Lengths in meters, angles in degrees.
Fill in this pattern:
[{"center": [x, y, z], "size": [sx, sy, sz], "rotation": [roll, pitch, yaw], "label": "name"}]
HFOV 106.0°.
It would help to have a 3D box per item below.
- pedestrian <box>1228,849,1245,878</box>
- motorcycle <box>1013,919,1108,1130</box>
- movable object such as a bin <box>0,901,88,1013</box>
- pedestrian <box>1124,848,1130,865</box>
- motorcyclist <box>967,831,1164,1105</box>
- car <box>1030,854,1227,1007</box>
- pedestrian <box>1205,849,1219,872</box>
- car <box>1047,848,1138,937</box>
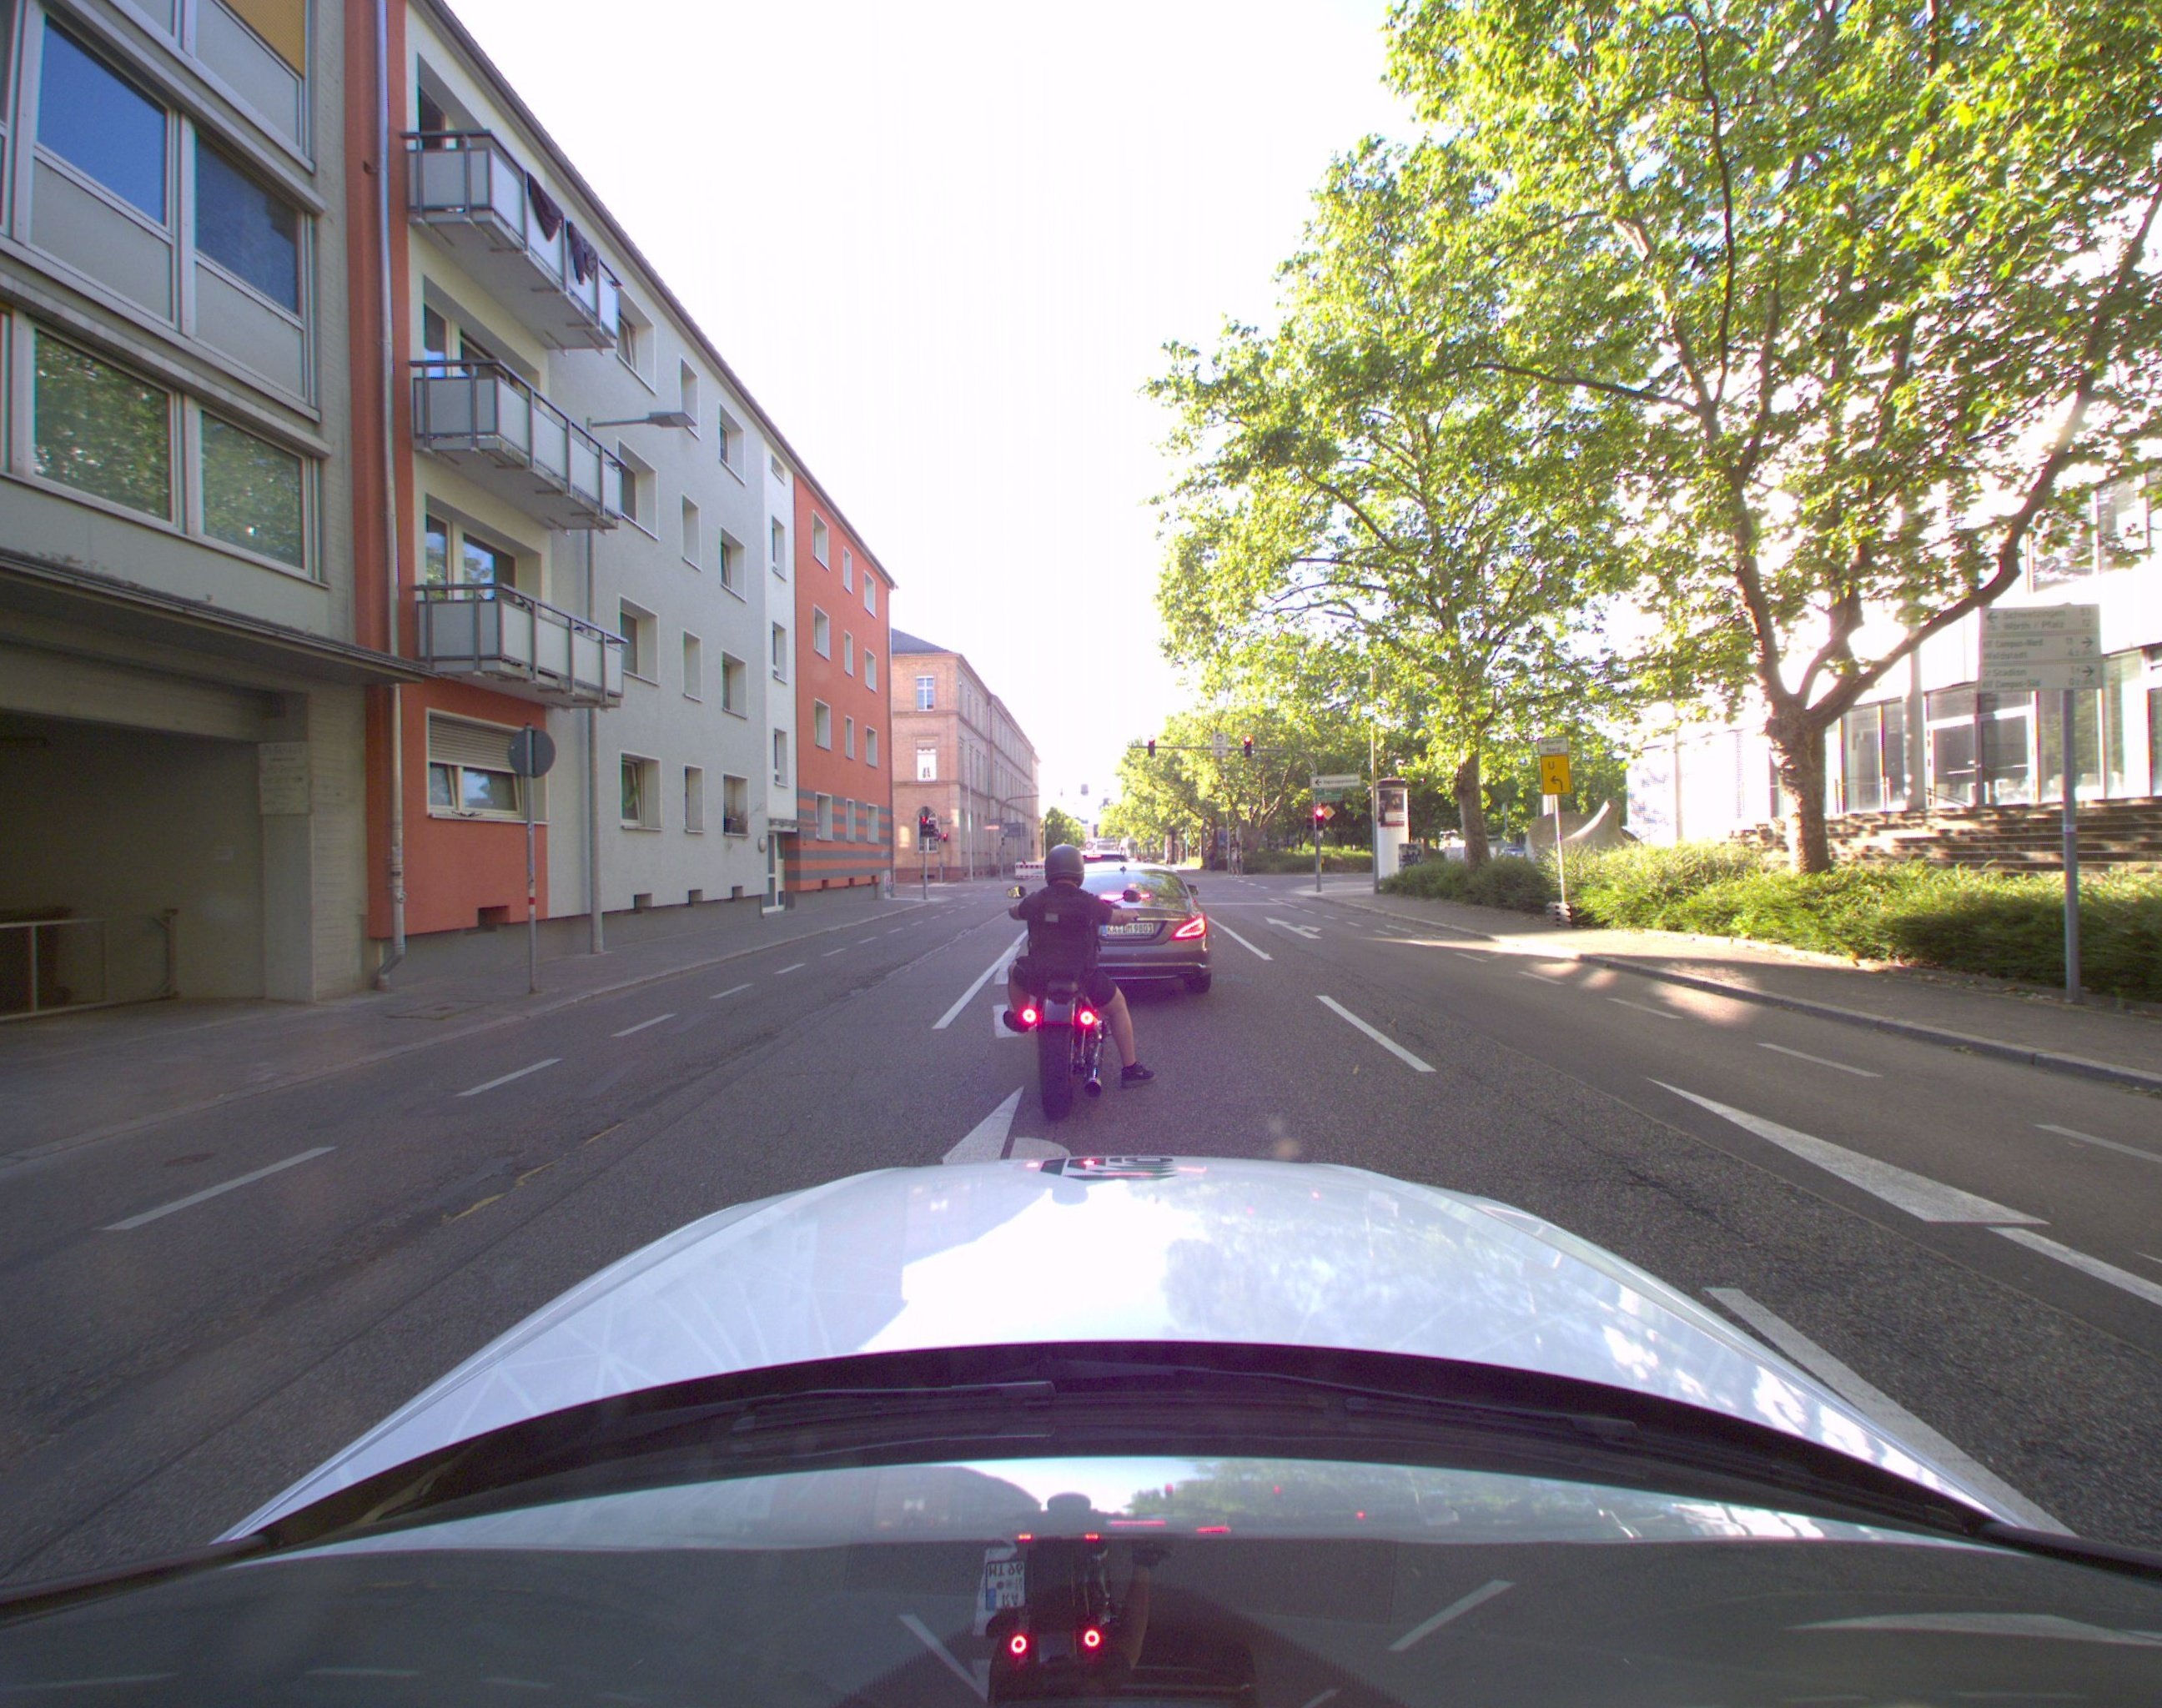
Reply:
[{"center": [10.205, 0.628, 53.546], "size": [0.996, 1.826, 1.078], "rotation": [0, -1, 8], "label": "pedestrian"}, {"center": [-0.078, 1.007, 5.442], "size": [0.511, 1.002, 2.014], "rotation": [0, -1, 2], "label": "motorcycle"}, {"center": [-11.257, 1.069, 8.645], "size": [0.626, 1.100, 0.659], "rotation": [0, -1, 4], "label": "movable object such as a bin"}, {"center": [5.670, 0.277, 100.931], "size": [0.761, 2.051, 0.712], "rotation": [0, -1, 1], "label": "pedestrian"}, {"center": [-0.073, 0.674, 5.422], "size": [1.145, 1.598, 1.288], "rotation": [0, -1, 1], "label": "motorcyclist"}, {"center": [0.517, 0.742, 9.740], "size": [1.875, 1.449, 3.821], "rotation": [0, 0, 2], "label": "car"}, {"center": [10.744, 0.533, 66.706], "size": [0.753, 1.910, 0.918], "rotation": [0, -1, -26], "label": "pedestrian"}, {"center": [0.276, 0.695, 16.868], "size": [1.615, 1.594, 4.002], "rotation": [-1, 0, 2], "label": "car"}]
